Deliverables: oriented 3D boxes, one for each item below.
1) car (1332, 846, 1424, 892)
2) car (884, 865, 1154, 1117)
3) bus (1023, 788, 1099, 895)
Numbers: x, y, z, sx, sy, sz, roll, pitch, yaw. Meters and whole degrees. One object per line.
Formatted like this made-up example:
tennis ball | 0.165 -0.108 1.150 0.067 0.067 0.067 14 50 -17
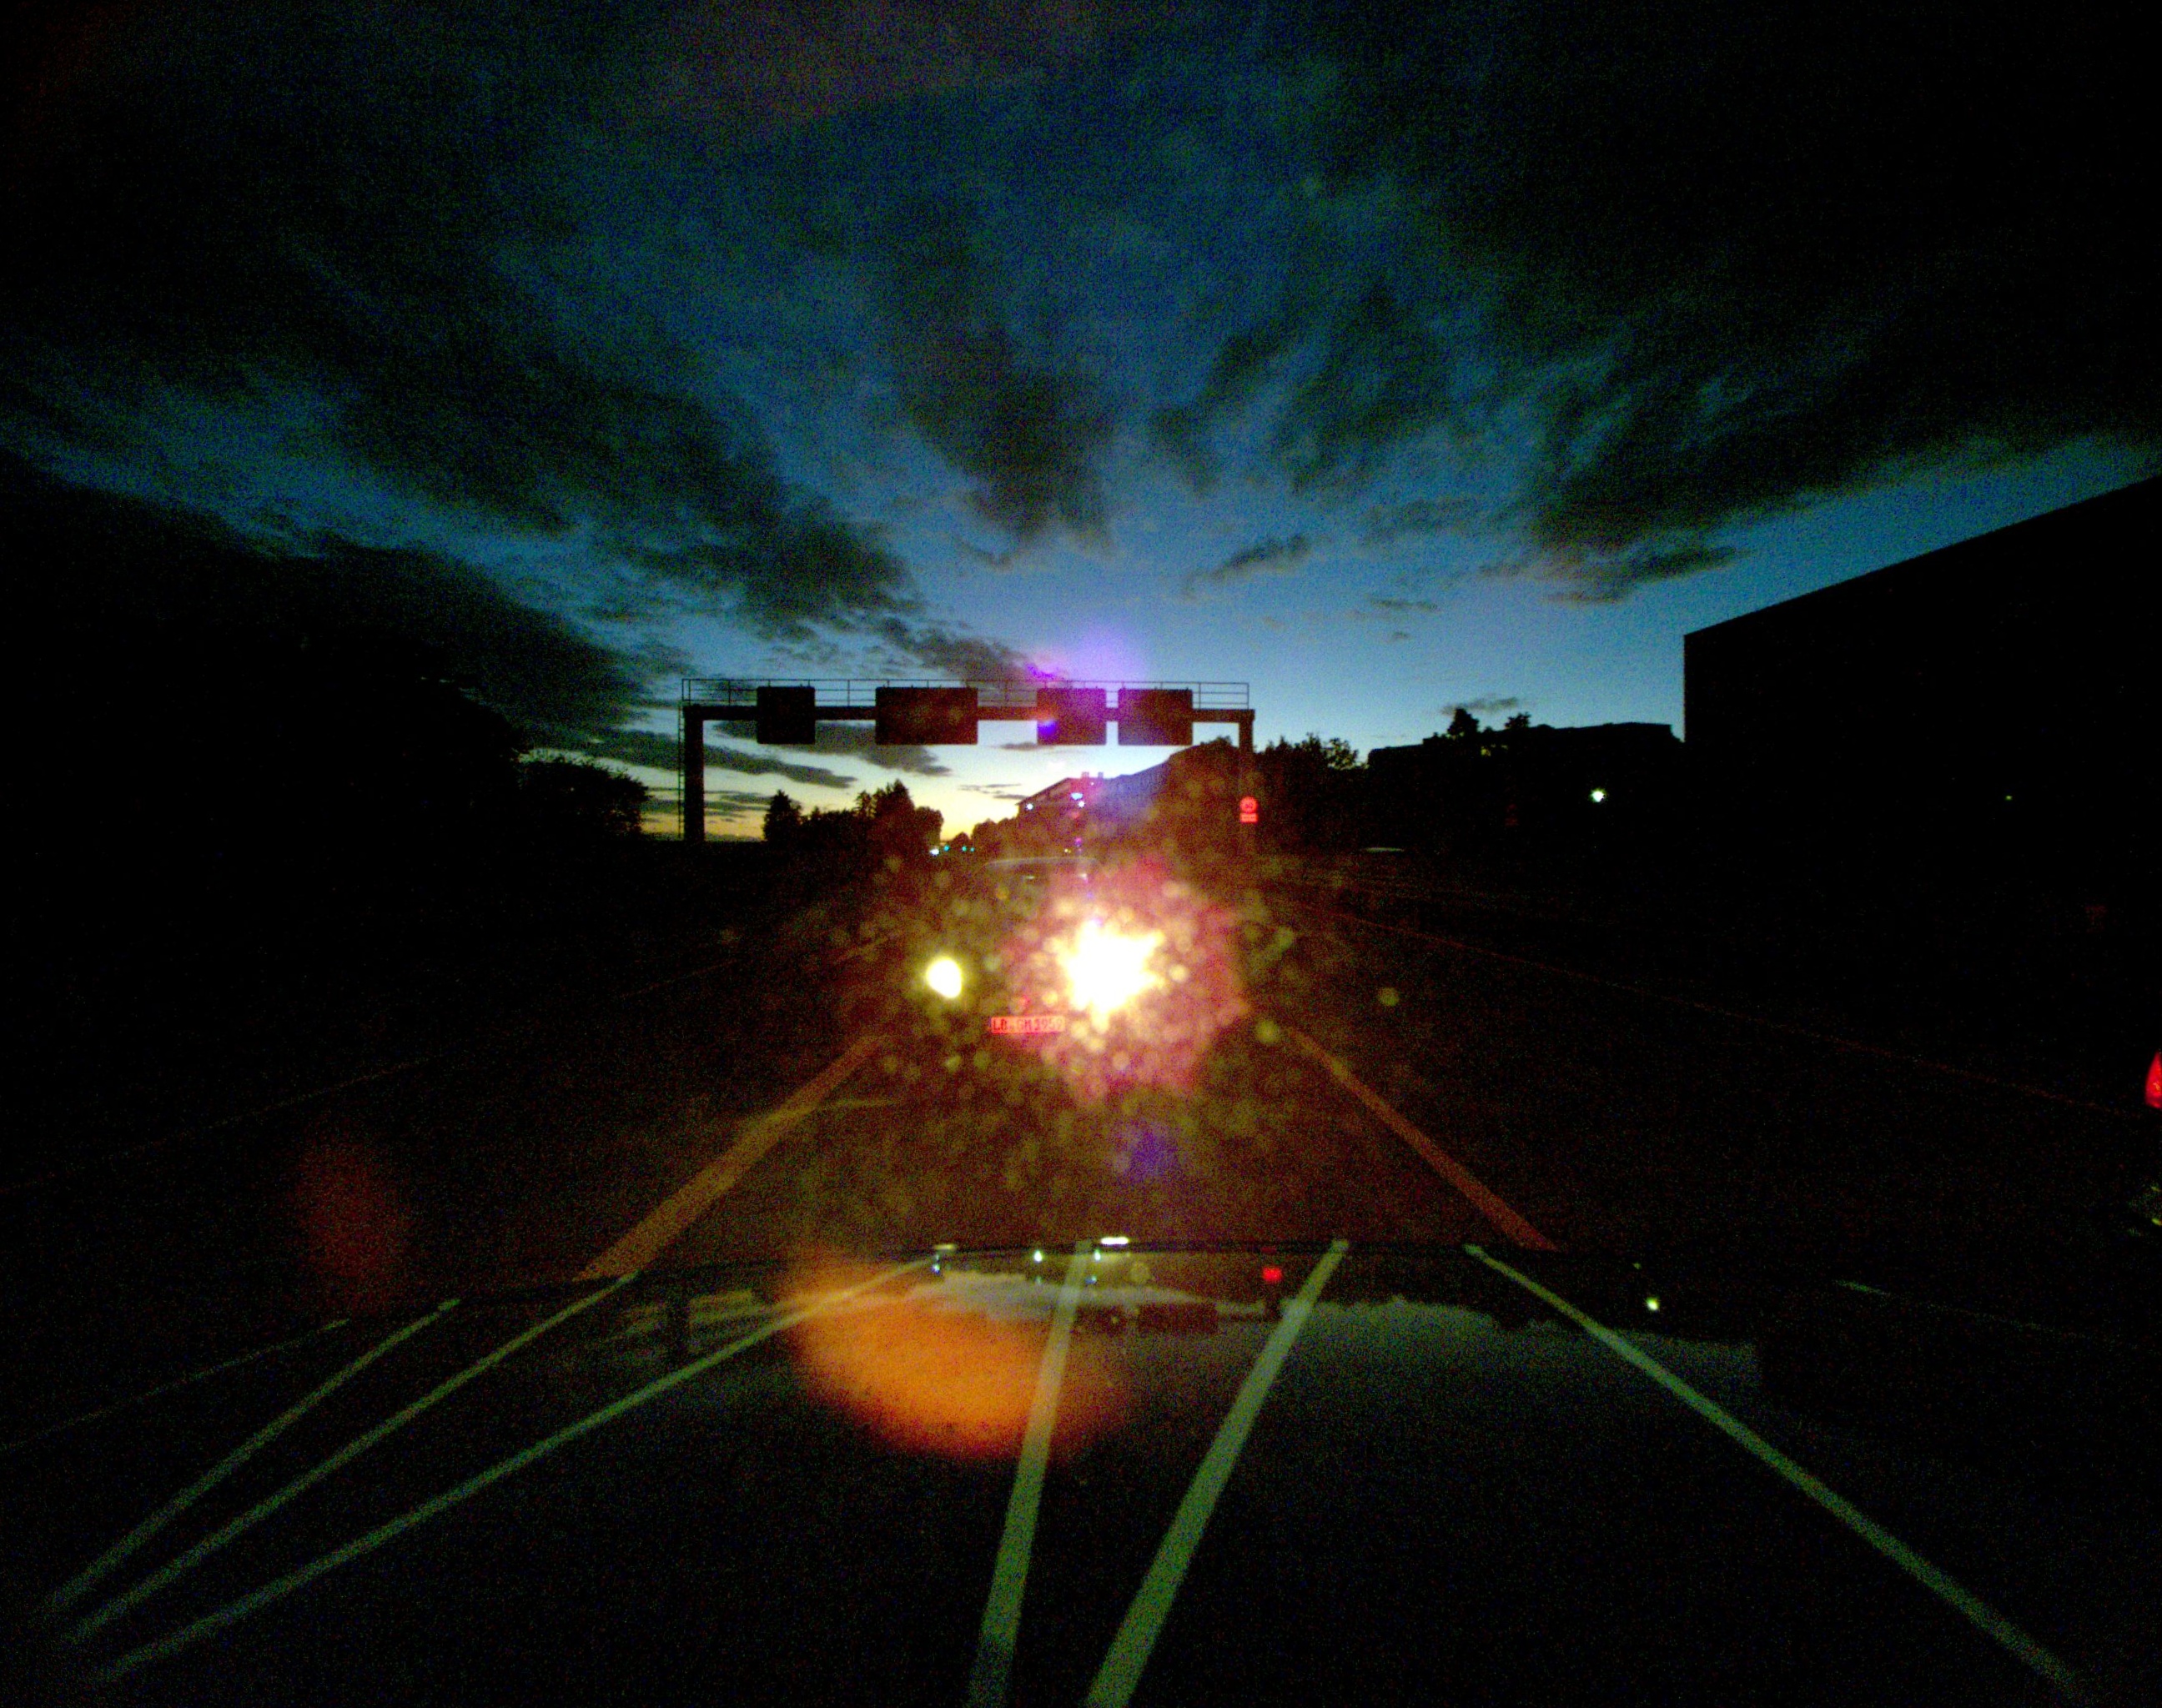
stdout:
car | 10.037 0.461 26.015 1.761 1.435 4.111 -1 0 3
car | -0.289 0.900 6.681 1.669 1.472 3.777 -2 0 3
bus | -1.086 -0.499 33.763 2.614 3.768 12.270 -2 1 -3
